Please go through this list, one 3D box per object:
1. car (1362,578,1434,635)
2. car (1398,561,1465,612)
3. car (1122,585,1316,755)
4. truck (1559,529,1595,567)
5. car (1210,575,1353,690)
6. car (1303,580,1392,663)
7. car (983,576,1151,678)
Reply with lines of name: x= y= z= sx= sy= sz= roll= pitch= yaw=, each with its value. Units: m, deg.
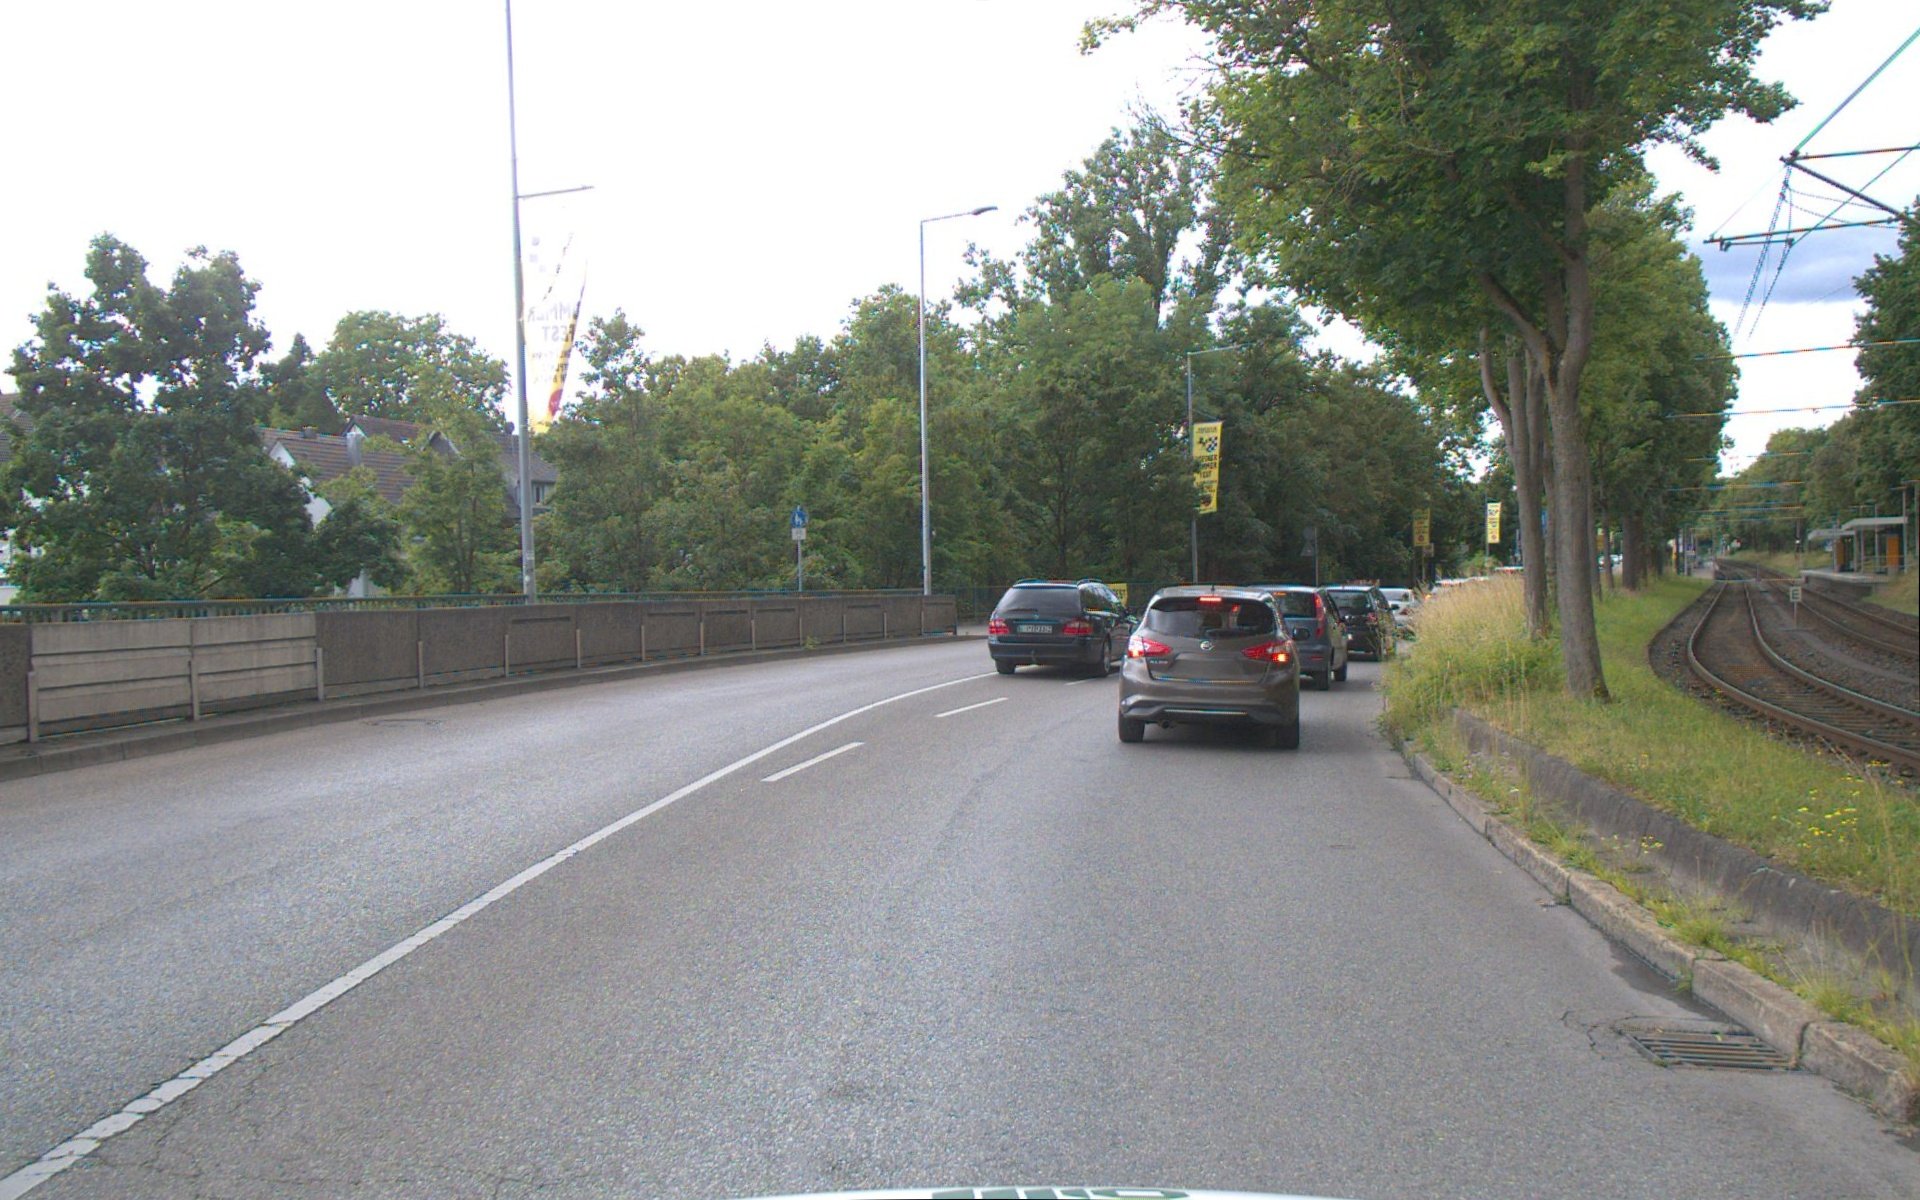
car: x=11.401 y=0.167 z=42.956 sx=1.469 sy=1.388 sz=3.588 roll=-1 pitch=0 yaw=20
car: x=15.416 y=-0.417 z=53.941 sx=1.767 sy=1.567 sz=4.000 roll=1 pitch=0 yaw=21
car: x=2.739 y=0.643 z=17.227 sx=1.737 sy=1.520 sz=4.003 roll=1 pitch=0 yaw=10
truck: x=66.210 y=-5.518 z=177.339 sx=2.603 sy=4.007 sz=10.101 roll=0 pitch=1 yaw=26
car: x=5.004 y=0.463 z=25.374 sx=1.852 sy=1.601 sz=4.003 roll=0 pitch=0 yaw=15
car: x=7.857 y=0.409 z=33.369 sx=1.544 sy=1.565 sz=4.003 roll=-1 pitch=0 yaw=16
car: x=1.840 y=0.376 z=26.984 sx=1.812 sy=1.512 sz=4.424 roll=0 pitch=1 yaw=16
